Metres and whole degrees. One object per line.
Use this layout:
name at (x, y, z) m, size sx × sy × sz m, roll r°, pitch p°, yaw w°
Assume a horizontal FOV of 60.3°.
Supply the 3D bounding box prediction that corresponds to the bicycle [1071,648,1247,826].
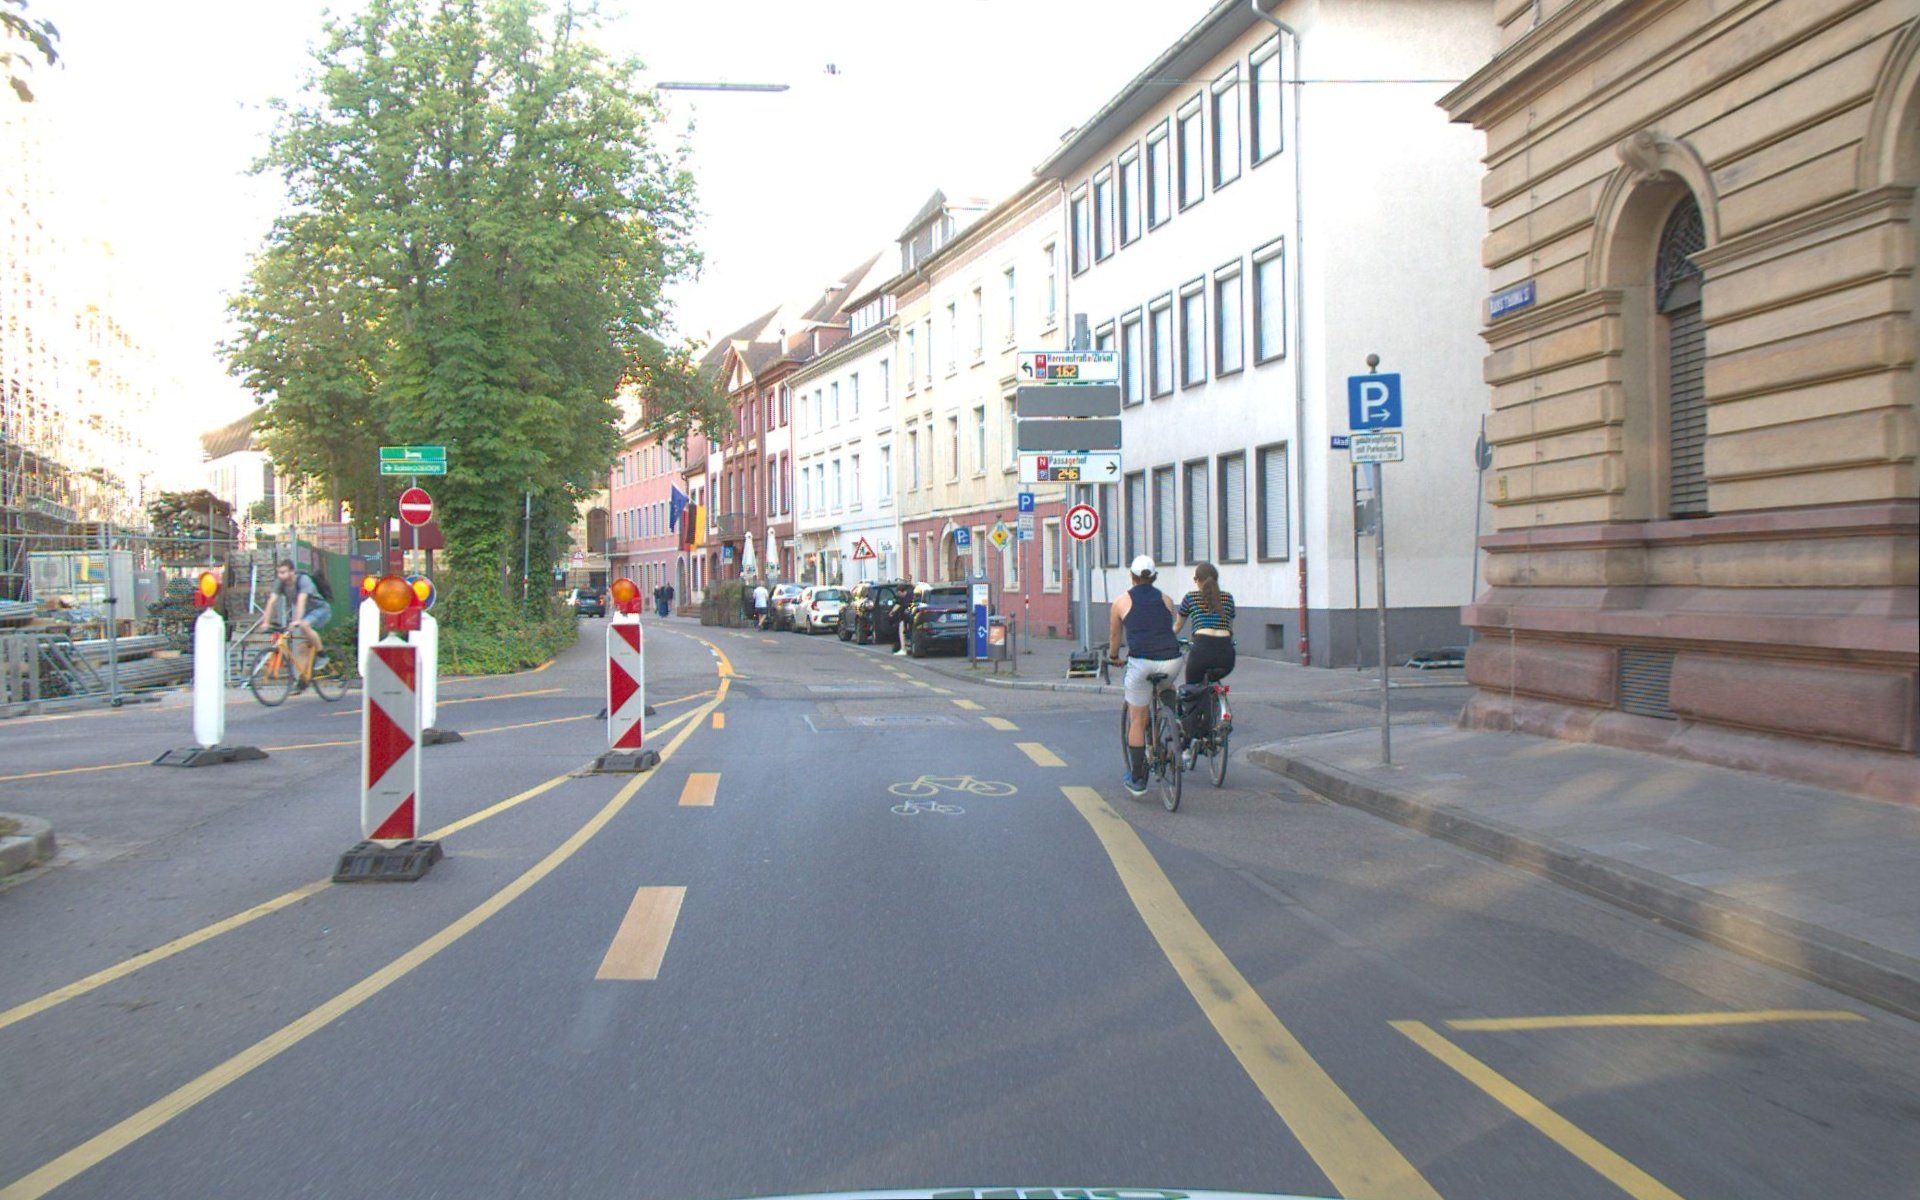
bicycle at (1.372, 0.923, 11.799) m, size 0.658 × 1.089 × 1.895 m, roll 1°, pitch 0°, yaw -12°

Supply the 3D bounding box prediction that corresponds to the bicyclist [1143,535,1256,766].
bicyclist at (1.916, 0.390, 13.342) m, size 0.637 × 1.791 × 0.862 m, roll 1°, pitch 1°, yaw -10°

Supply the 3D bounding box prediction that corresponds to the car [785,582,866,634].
car at (-4.350, 0.217, 53.001) m, size 1.784 × 1.587 × 3.846 m, roll -1°, pitch 1°, yaw -17°

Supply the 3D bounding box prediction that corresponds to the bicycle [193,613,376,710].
bicycle at (-8.102, 0.710, 19.952) m, size 0.745 × 1.055 × 2.120 m, roll -1°, pitch 1°, yaw 23°

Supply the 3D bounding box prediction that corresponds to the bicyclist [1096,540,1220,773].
bicyclist at (1.393, 0.392, 11.729) m, size 0.657 × 1.593 × 0.696 m, roll 1°, pitch 0°, yaw -12°

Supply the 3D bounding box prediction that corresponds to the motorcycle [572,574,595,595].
motorcycle at (-22.767, -0.945, 99.962) m, size 1.027 × 1.270 × 2.383 m, roll -1°, pitch 1°, yaw -21°

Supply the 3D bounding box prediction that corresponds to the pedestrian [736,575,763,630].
pedestrian at (-7.324, 0.087, 57.487) m, size 0.814 × 1.876 × 0.958 m, roll 0°, pitch 1°, yaw -1°

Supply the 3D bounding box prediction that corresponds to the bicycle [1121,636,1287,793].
bicycle at (1.911, 0.872, 13.328) m, size 0.641 × 1.089 × 2.253 m, roll 1°, pitch 0°, yaw -10°

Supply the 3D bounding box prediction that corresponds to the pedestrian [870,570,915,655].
pedestrian at (-1.549, 0.280, 37.944) m, size 0.884 × 1.898 × 0.929 m, roll -1°, pitch 0°, yaw -12°

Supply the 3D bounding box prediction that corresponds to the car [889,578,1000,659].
car at (-0.409, 0.371, 37.233) m, size 1.780 × 1.712 × 3.908 m, roll -1°, pitch 1°, yaw -12°

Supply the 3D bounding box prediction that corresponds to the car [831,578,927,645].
car at (-2.261, 0.283, 45.093) m, size 1.783 × 1.713 × 3.983 m, roll -1°, pitch 1°, yaw -16°

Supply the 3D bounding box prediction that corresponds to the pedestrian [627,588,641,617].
pedestrian at (-18.531, 0.134, 94.010) m, size 0.657 × 1.609 × 0.582 m, roll -1°, pitch 0°, yaw -19°

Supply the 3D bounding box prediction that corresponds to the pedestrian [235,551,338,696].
pedestrian at (-8.116, 0.272, 19.951) m, size 0.720 × 1.703 × 0.895 m, roll -1°, pitch 0°, yaw 24°

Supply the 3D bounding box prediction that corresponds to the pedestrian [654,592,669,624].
pedestrian at (-16.758, 0.456, 92.774) m, size 0.739 × 1.793 × 0.582 m, roll -1°, pitch 0°, yaw -19°

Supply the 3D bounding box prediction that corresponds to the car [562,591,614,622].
car at (-19.817, 0.302, 88.010) m, size 1.791 × 1.587 × 3.831 m, roll -1°, pitch 1°, yaw -27°

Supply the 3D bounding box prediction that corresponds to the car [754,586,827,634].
car at (-5.873, 0.308, 57.057) m, size 1.784 × 1.587 × 3.846 m, roll -1°, pitch 1°, yaw -17°
